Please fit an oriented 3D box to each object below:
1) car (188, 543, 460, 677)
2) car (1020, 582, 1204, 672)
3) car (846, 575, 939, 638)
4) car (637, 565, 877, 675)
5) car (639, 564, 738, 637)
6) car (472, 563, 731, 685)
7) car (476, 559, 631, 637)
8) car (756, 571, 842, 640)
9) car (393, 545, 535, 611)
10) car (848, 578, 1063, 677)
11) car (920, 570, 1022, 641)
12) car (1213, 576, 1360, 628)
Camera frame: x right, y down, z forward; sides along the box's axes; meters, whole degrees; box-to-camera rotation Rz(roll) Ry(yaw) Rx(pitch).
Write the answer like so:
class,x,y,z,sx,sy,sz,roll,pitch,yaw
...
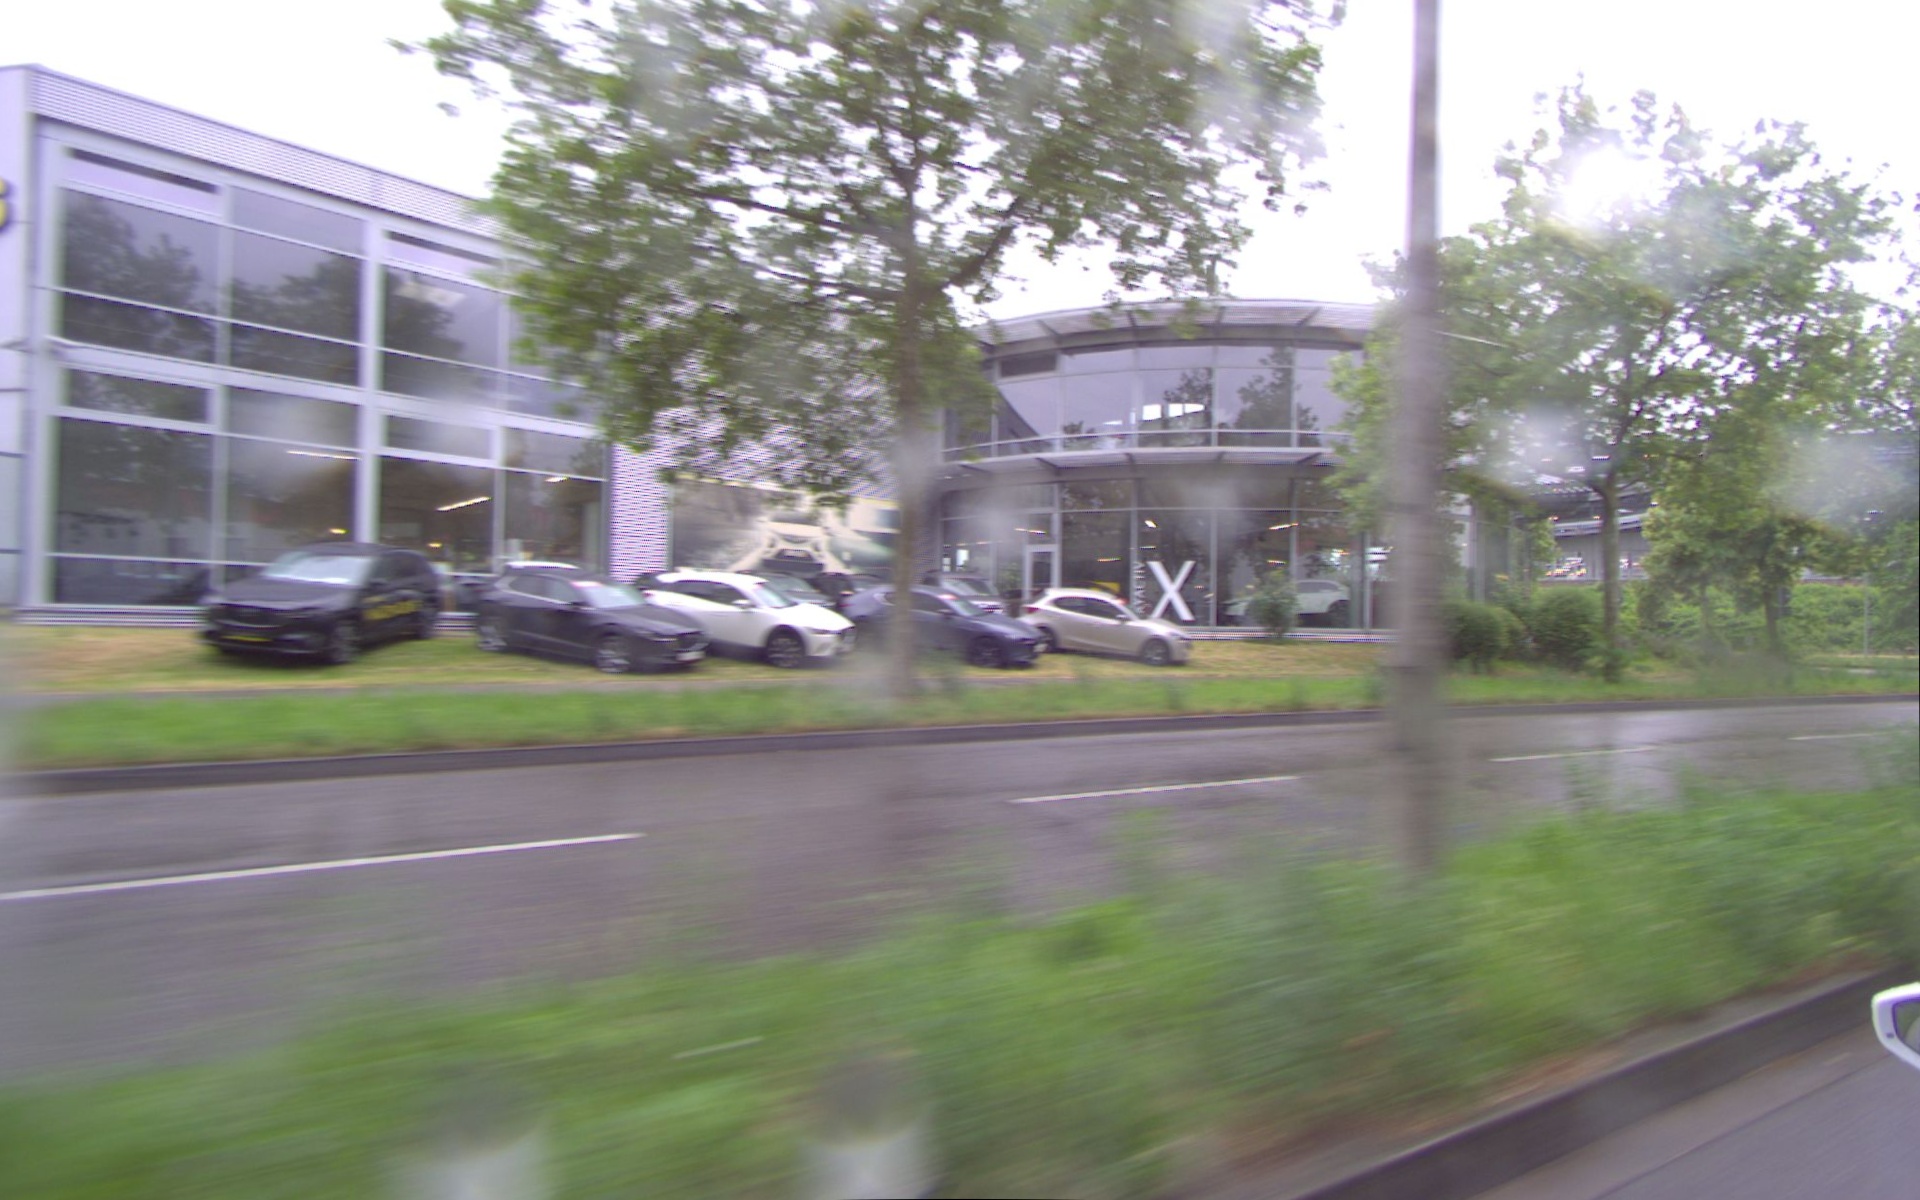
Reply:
class,x,y,z,sx,sy,sz,roll,pitch,yaw
car,-10.170,0.030,16.531,1.812,1.578,4.432,4,6,-3
car,3.484,0.572,23.202,3.920,1.496,1.785,6,6,9
car,-1.876,0.182,26.490,1.886,1.493,4.427,1,-1,-11
car,-3.857,0.311,19.296,4.047,1.499,1.847,6,6,14
car,-6.208,0.029,23.419,1.886,1.493,4.427,1,-1,-11
car,-6.288,0.327,17.627,4.050,1.499,1.846,7,6,22
car,-8.830,-0.032,21.602,1.904,1.493,4.386,2,-1,-39
car,-4.061,0.145,24.828,1.886,1.493,4.427,1,-1,-11
car,-12.674,-0.521,25.538,4.376,1.493,1.908,1,-1,45
car,-0.080,0.505,21.037,4.048,1.442,1.847,7,6,17
car,0.201,0.163,27.600,1.886,1.761,4.427,1,-1,-11
car,10.260,0.078,31.764,4.031,1.495,1.785,1,-1,0
